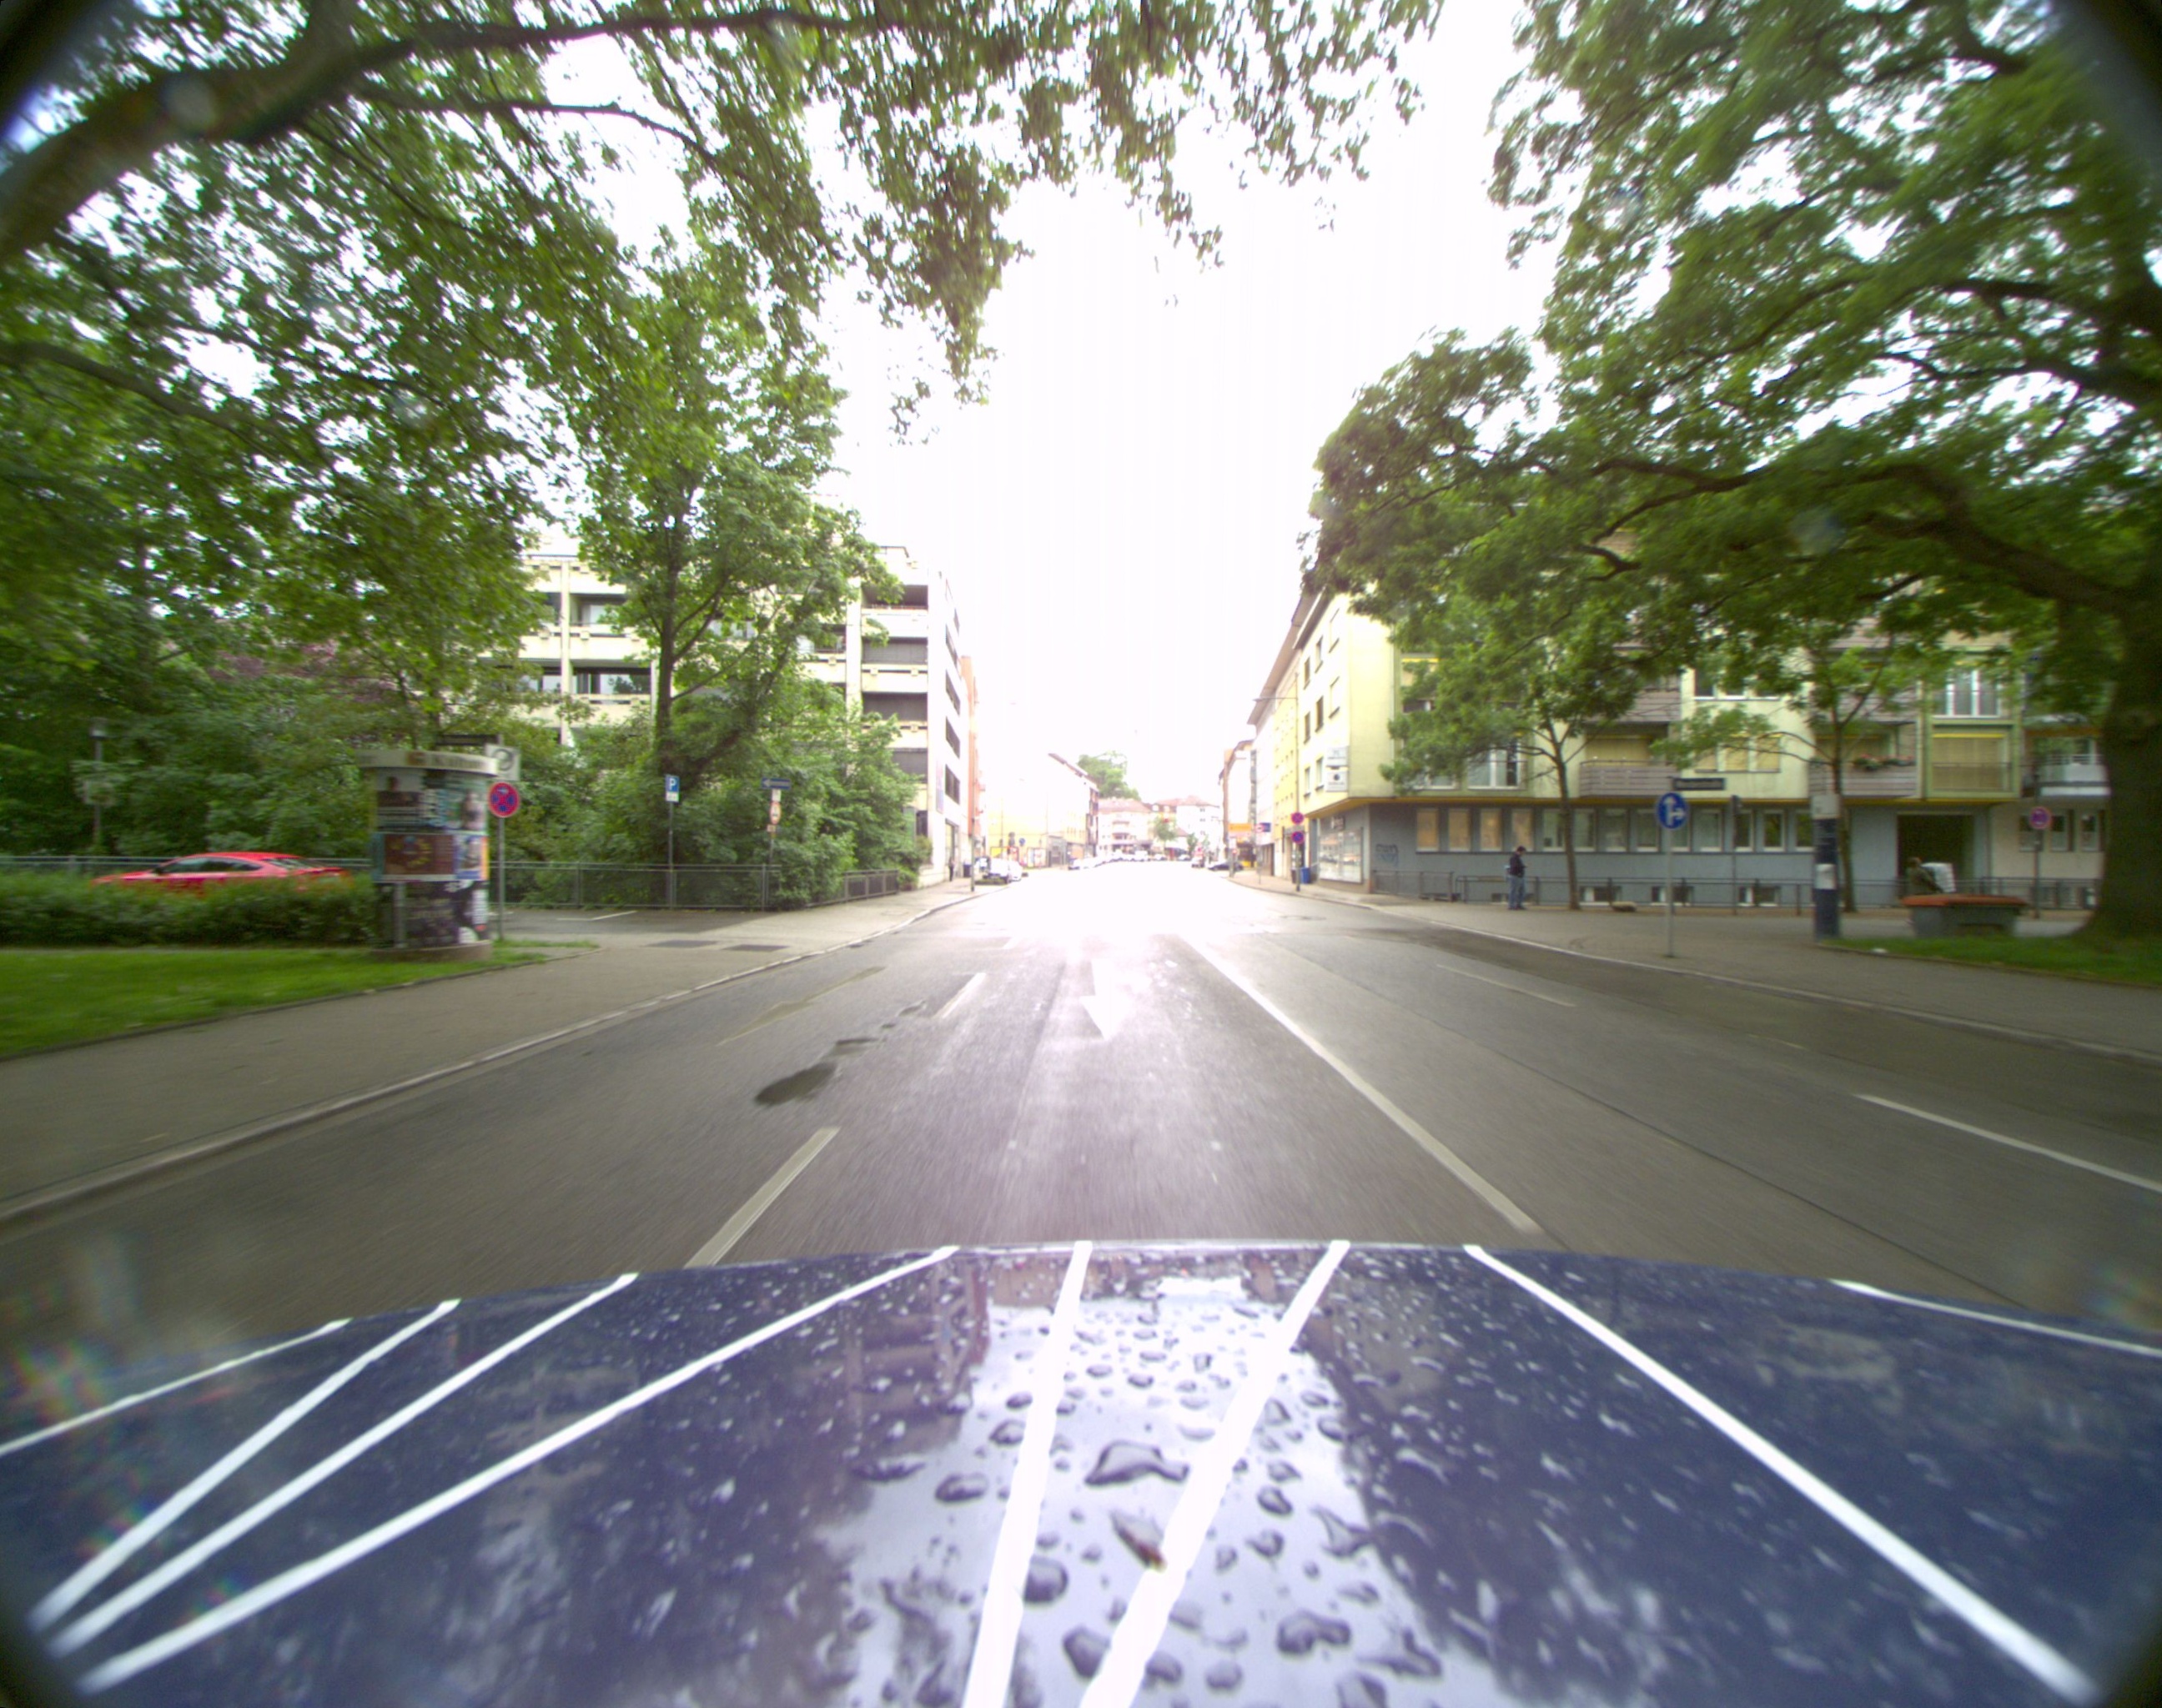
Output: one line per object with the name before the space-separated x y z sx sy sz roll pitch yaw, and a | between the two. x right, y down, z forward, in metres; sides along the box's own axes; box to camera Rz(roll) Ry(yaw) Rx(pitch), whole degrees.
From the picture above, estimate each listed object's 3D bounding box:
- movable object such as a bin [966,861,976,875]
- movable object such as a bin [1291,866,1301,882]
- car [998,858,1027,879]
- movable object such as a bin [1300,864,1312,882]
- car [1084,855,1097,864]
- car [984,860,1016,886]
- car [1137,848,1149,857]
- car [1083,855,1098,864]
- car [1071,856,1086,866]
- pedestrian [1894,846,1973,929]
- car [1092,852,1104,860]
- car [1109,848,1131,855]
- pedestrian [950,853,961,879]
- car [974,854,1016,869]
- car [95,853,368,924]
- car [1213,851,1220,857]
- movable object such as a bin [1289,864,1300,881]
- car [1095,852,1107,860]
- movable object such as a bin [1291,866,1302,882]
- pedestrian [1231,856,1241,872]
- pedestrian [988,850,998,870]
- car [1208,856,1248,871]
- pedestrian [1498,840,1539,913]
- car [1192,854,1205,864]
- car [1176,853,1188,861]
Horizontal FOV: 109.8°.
movable object such as a bin | -8.512 1.086 58.651 0.681 1.097 0.514 0 0 -1
movable object such as a bin | 12.959 1.185 45.869 0.465 0.922 0.428 -4 0 8
car | -5.051 1.036 56.356 1.835 1.412 4.569 1 0 -1
movable object such as a bin | 13.079 1.107 44.146 0.529 0.955 0.435 -4 0 8
car | 1.528 0.932 121.151 1.736 1.389 3.744 0 0 8
car | -5.213 1.191 49.363 1.706 1.549 3.804 1 0 -1
car | 12.659 -0.306 155.717 2.016 1.754 4.766 1 0 9
car | 1.461 0.842 116.976 1.736 1.389 3.744 0 0 8
car | -0.354 0.965 109.206 1.736 1.389 3.744 0 0 8
pedestrian | 20.150 0.779 17.984 0.918 1.913 0.820 0 0 6
car | 2.980 0.293 131.183 1.736 1.389 3.743 0 0 7
car | 8.561 -0.569 168.239 2.038 1.522 4.894 0 0 -40
pedestrian | -7.956 0.760 48.225 0.599 1.650 0.691 3 0 -6
car | -10.173 0.921 89.813 4.687 1.559 1.758 -2 0 2
car | -19.522 0.769 17.640 3.999 1.473 1.875 1 1 -5
car | 33.789 -0.041 189.189 1.591 1.518 3.492 0 0 14
movable object such as a bin | 13.043 1.138 46.404 0.517 0.994 0.524 -4 0 8
car | 3.670 0.330 136.233 1.736 1.389 3.744 0 0 9
movable object such as a bin | 12.850 1.186 45.245 0.529 0.922 0.426 -4 0 8
pedestrian | 15.702 1.044 76.893 0.785 1.578 0.674 -2 0 21
pedestrian | -9.162 0.630 79.048 0.806 2.140 0.737 0 1 -23
car | 17.695 1.116 91.616 4.560 1.559 1.758 -2 0 4
pedestrian | 12.437 0.624 21.615 0.754 2.002 0.780 0 1 -37
car | 18.183 0.776 117.208 1.834 1.612 4.003 0 0 10
car | 24.549 0.710 184.321 1.747 1.754 4.061 1 0 27
